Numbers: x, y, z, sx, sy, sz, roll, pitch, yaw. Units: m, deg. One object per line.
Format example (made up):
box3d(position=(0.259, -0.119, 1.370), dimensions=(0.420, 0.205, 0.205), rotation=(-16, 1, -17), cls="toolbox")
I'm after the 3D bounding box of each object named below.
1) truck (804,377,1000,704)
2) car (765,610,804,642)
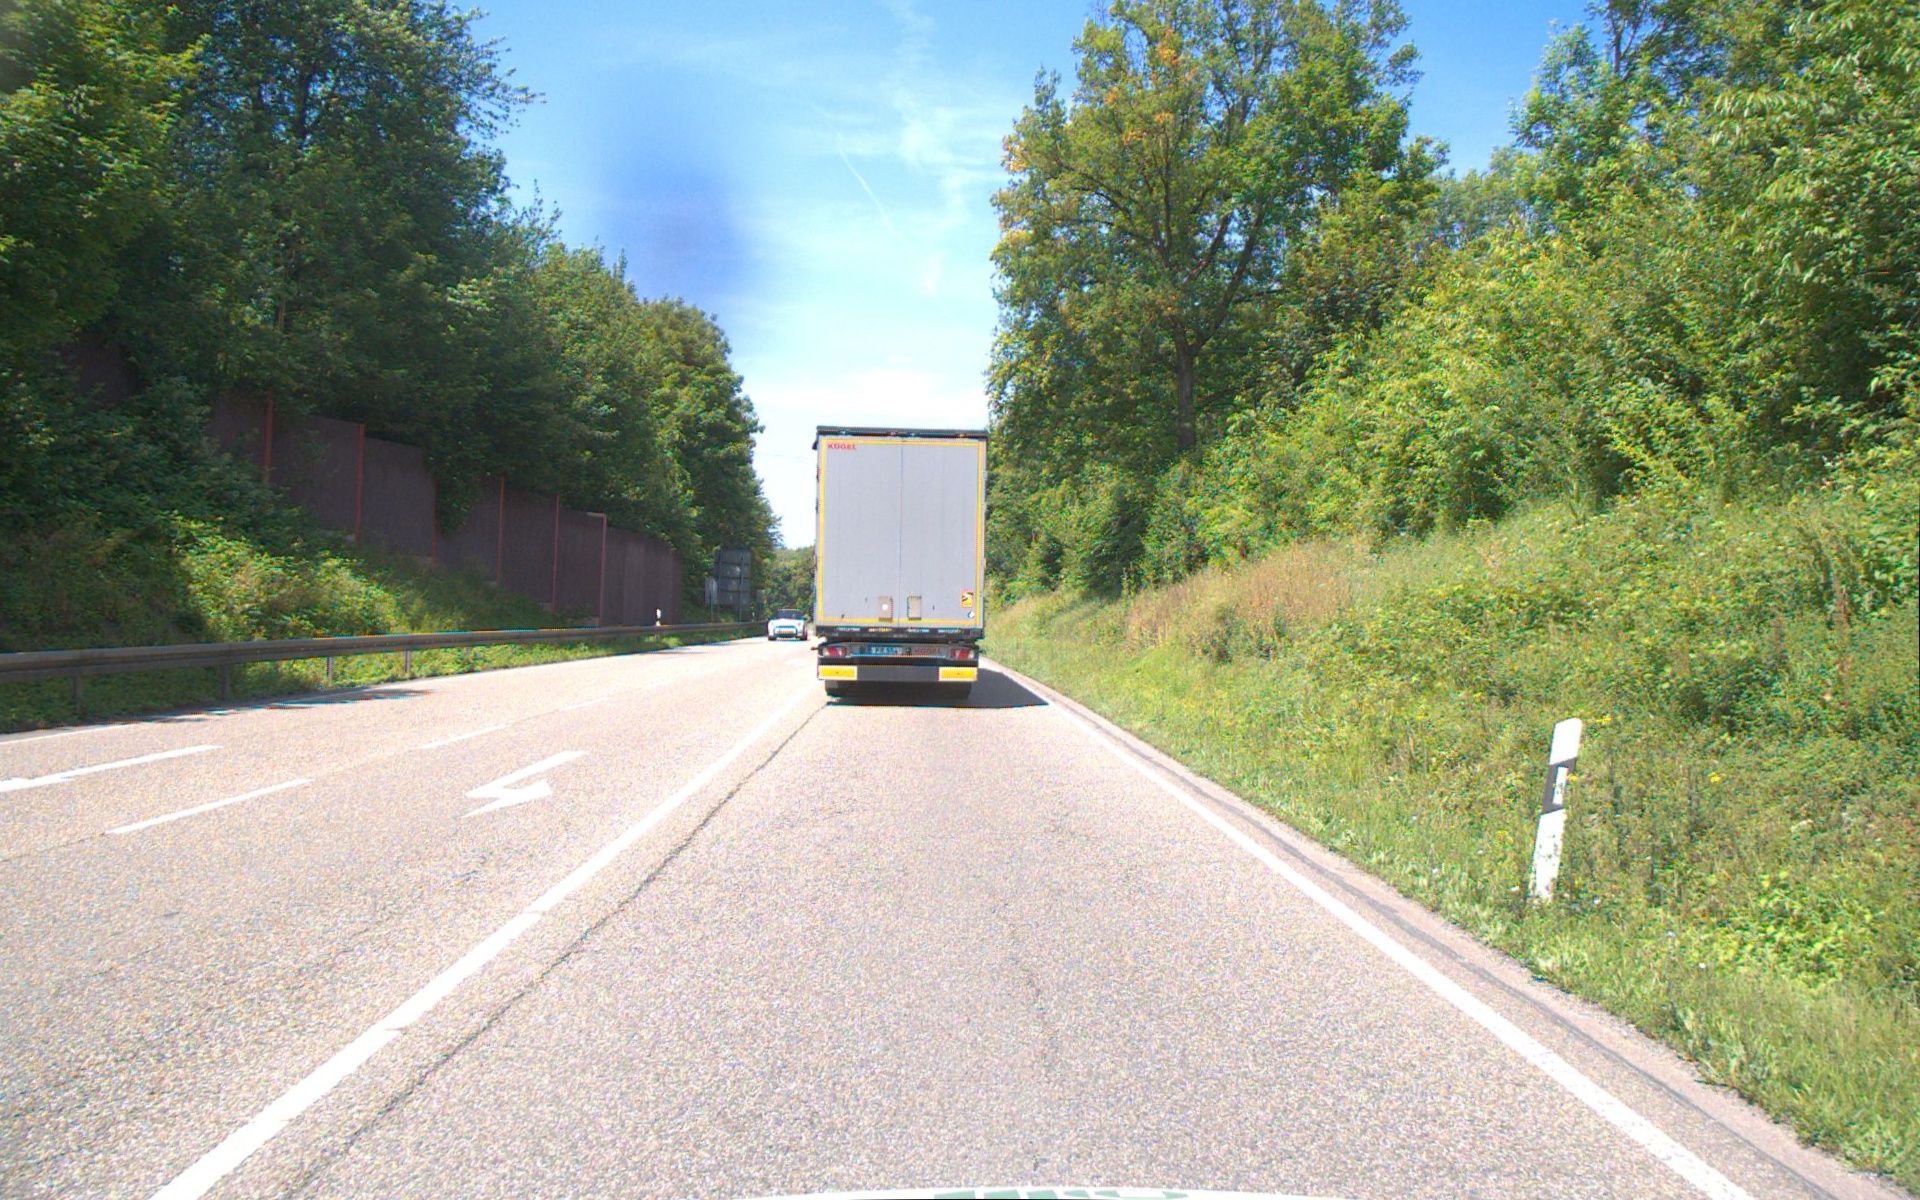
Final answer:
box3d(position=(-0.905, -0.888, 27.291), dimensions=(2.765, 4.684, 6.664), rotation=(1, 0, -1), cls="truck")
box3d(position=(-8.211, 1.193, 77.583), dimensions=(1.771, 1.460, 3.867), rotation=(0, 0, -5), cls="car")
